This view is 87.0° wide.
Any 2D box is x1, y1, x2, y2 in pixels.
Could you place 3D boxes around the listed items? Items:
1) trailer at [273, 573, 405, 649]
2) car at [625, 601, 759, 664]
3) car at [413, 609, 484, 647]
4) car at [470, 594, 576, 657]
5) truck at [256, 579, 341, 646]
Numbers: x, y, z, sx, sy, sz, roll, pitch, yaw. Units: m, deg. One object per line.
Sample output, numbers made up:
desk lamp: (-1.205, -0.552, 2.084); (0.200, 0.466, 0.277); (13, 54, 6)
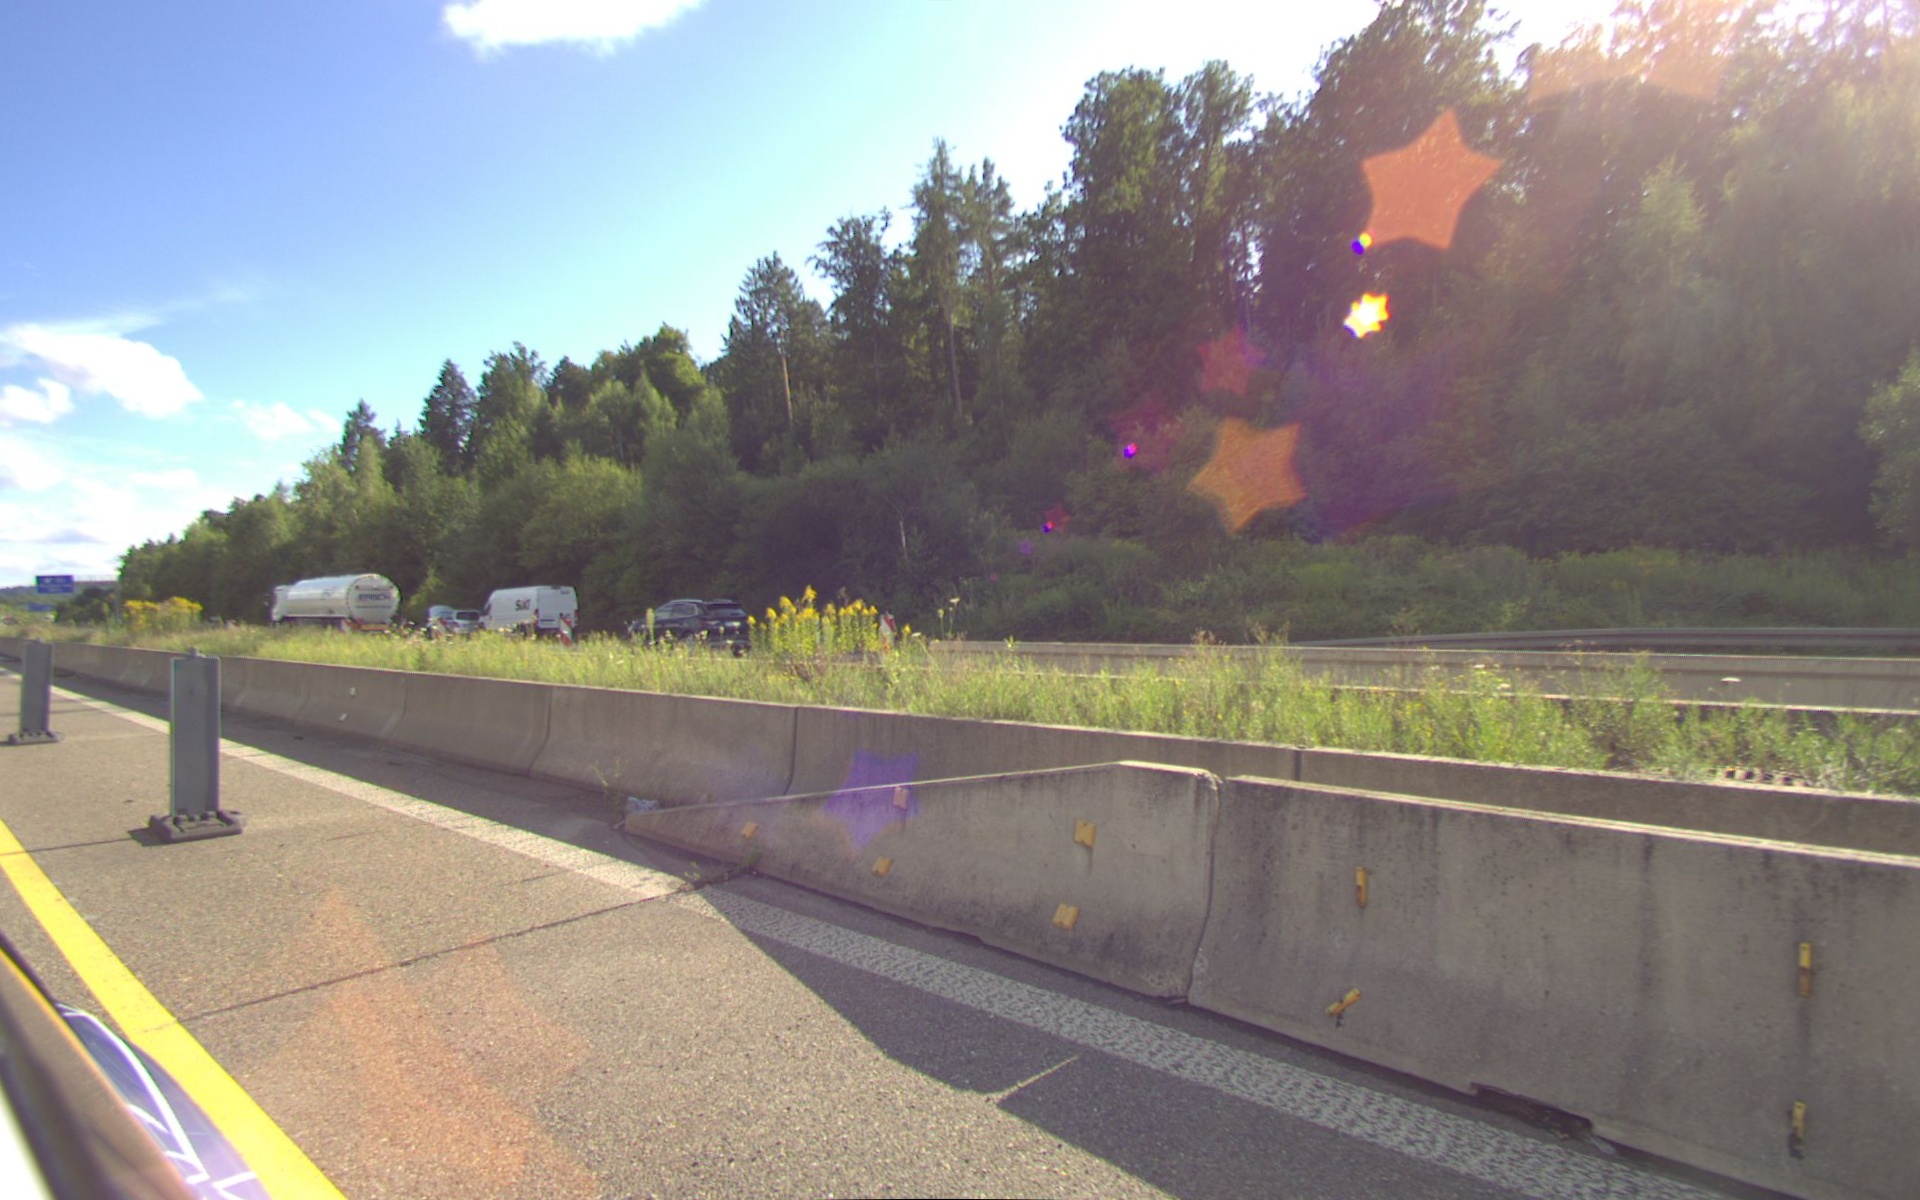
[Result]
trailer: (-31.850, 0.579, 51.612); (11.111, 3.516, 2.772); (-1, 0, 43)
car: (-7.578, 0.883, 28.468); (4.018, 1.614, 1.759); (-1, 0, 43)
car: (-27.276, 1.465, 53.943); (4.762, 1.867, 1.840); (-1, 0, 43)
car: (-20.196, 1.123, 46.555); (6.522, 2.705, 2.006); (-1, 0, 43)
truck: (-36.510, 0.667, 55.814); (4.939, 3.516, 2.755); (-1, 0, 43)
